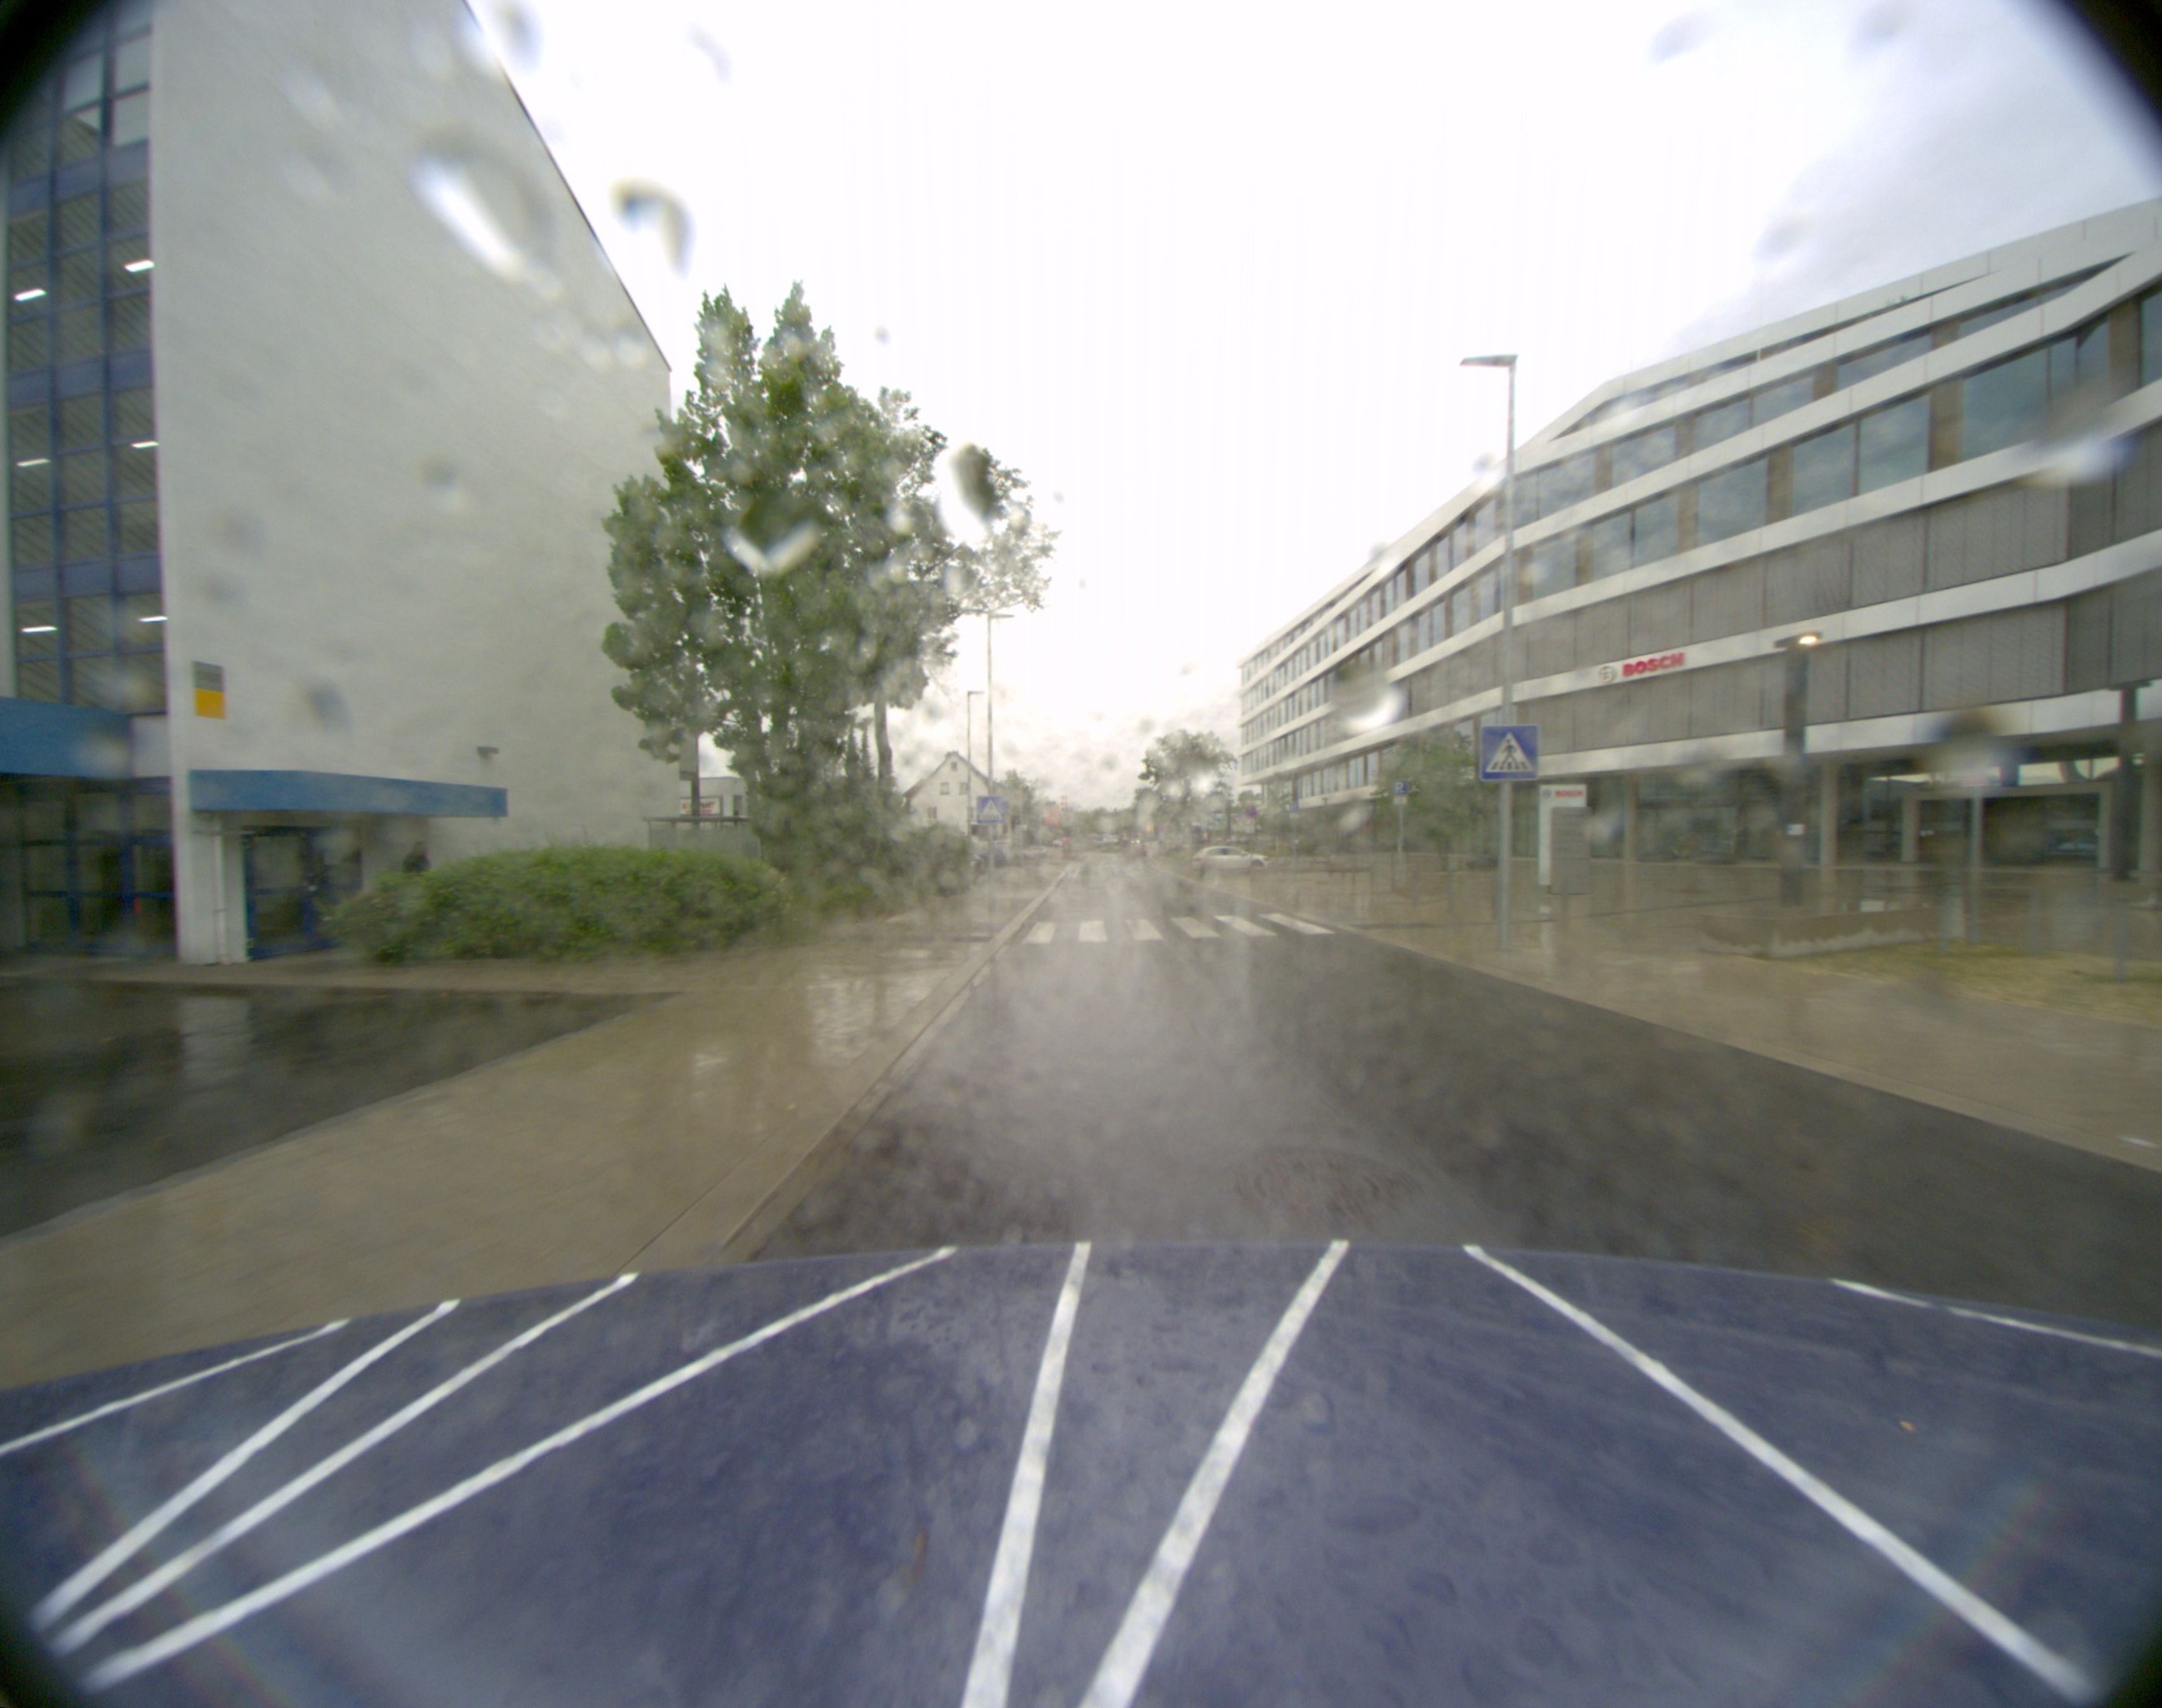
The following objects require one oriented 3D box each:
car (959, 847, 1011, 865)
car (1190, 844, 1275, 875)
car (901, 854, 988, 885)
[{"bbox_3d":[-7.767,0.154,61.645,3.998,1.444,1.868,-1,1,-3],"label":"car"},{"bbox_3d":[7.956,0.265,40.321,4.166,1.411,2.001,-3,0,5],"label":"car"},{"bbox_3d":[-6.636,0.729,37.303,3.998,1.444,1.868,-1,1,-3],"label":"car"}]
